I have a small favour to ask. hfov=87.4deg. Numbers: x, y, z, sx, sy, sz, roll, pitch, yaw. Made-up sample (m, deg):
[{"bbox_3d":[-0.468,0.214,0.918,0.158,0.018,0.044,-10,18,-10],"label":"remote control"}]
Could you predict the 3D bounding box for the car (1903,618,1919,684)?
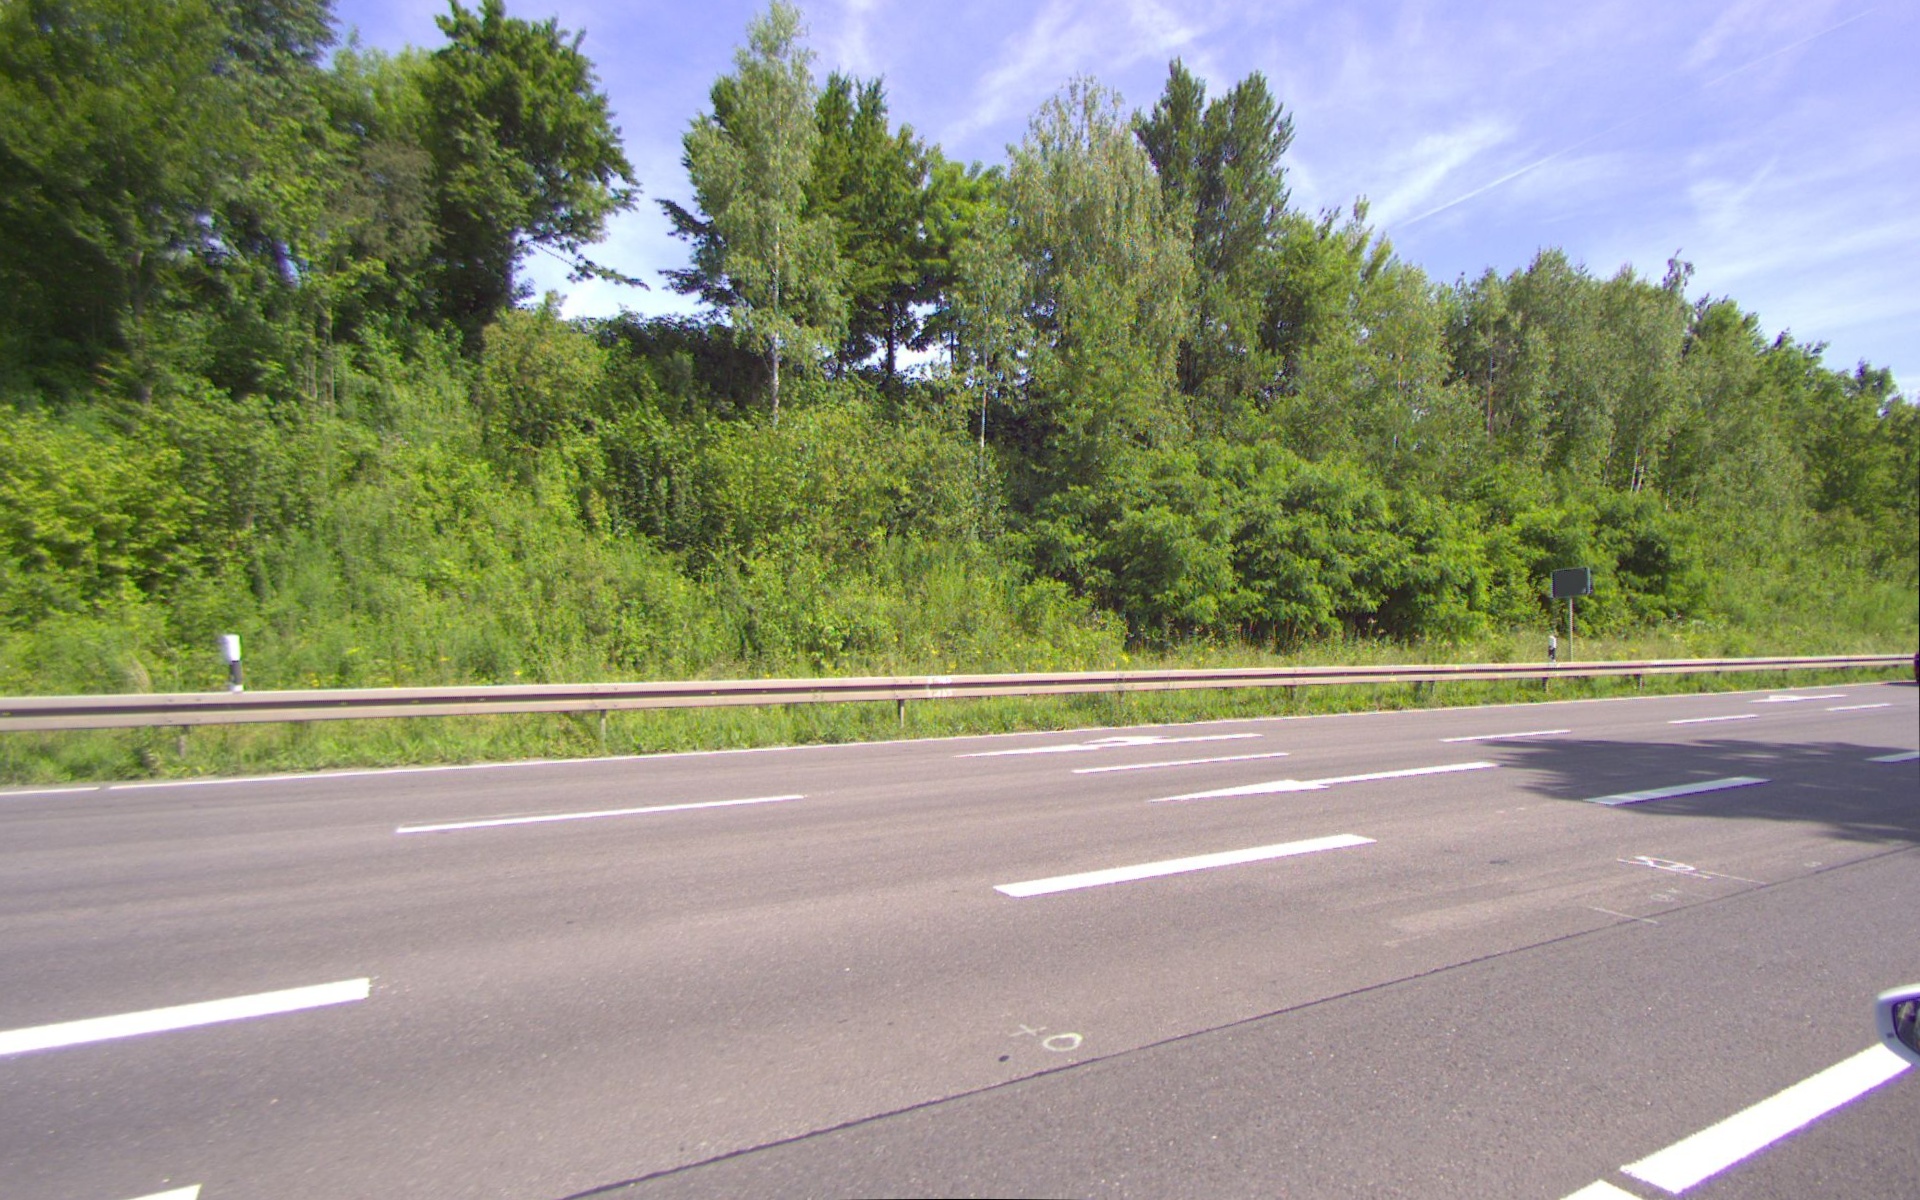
[{"bbox_3d":[28.901,1.469,28.453,4.752,1.820,1.964,2,-2,-30],"label":"car"}]
